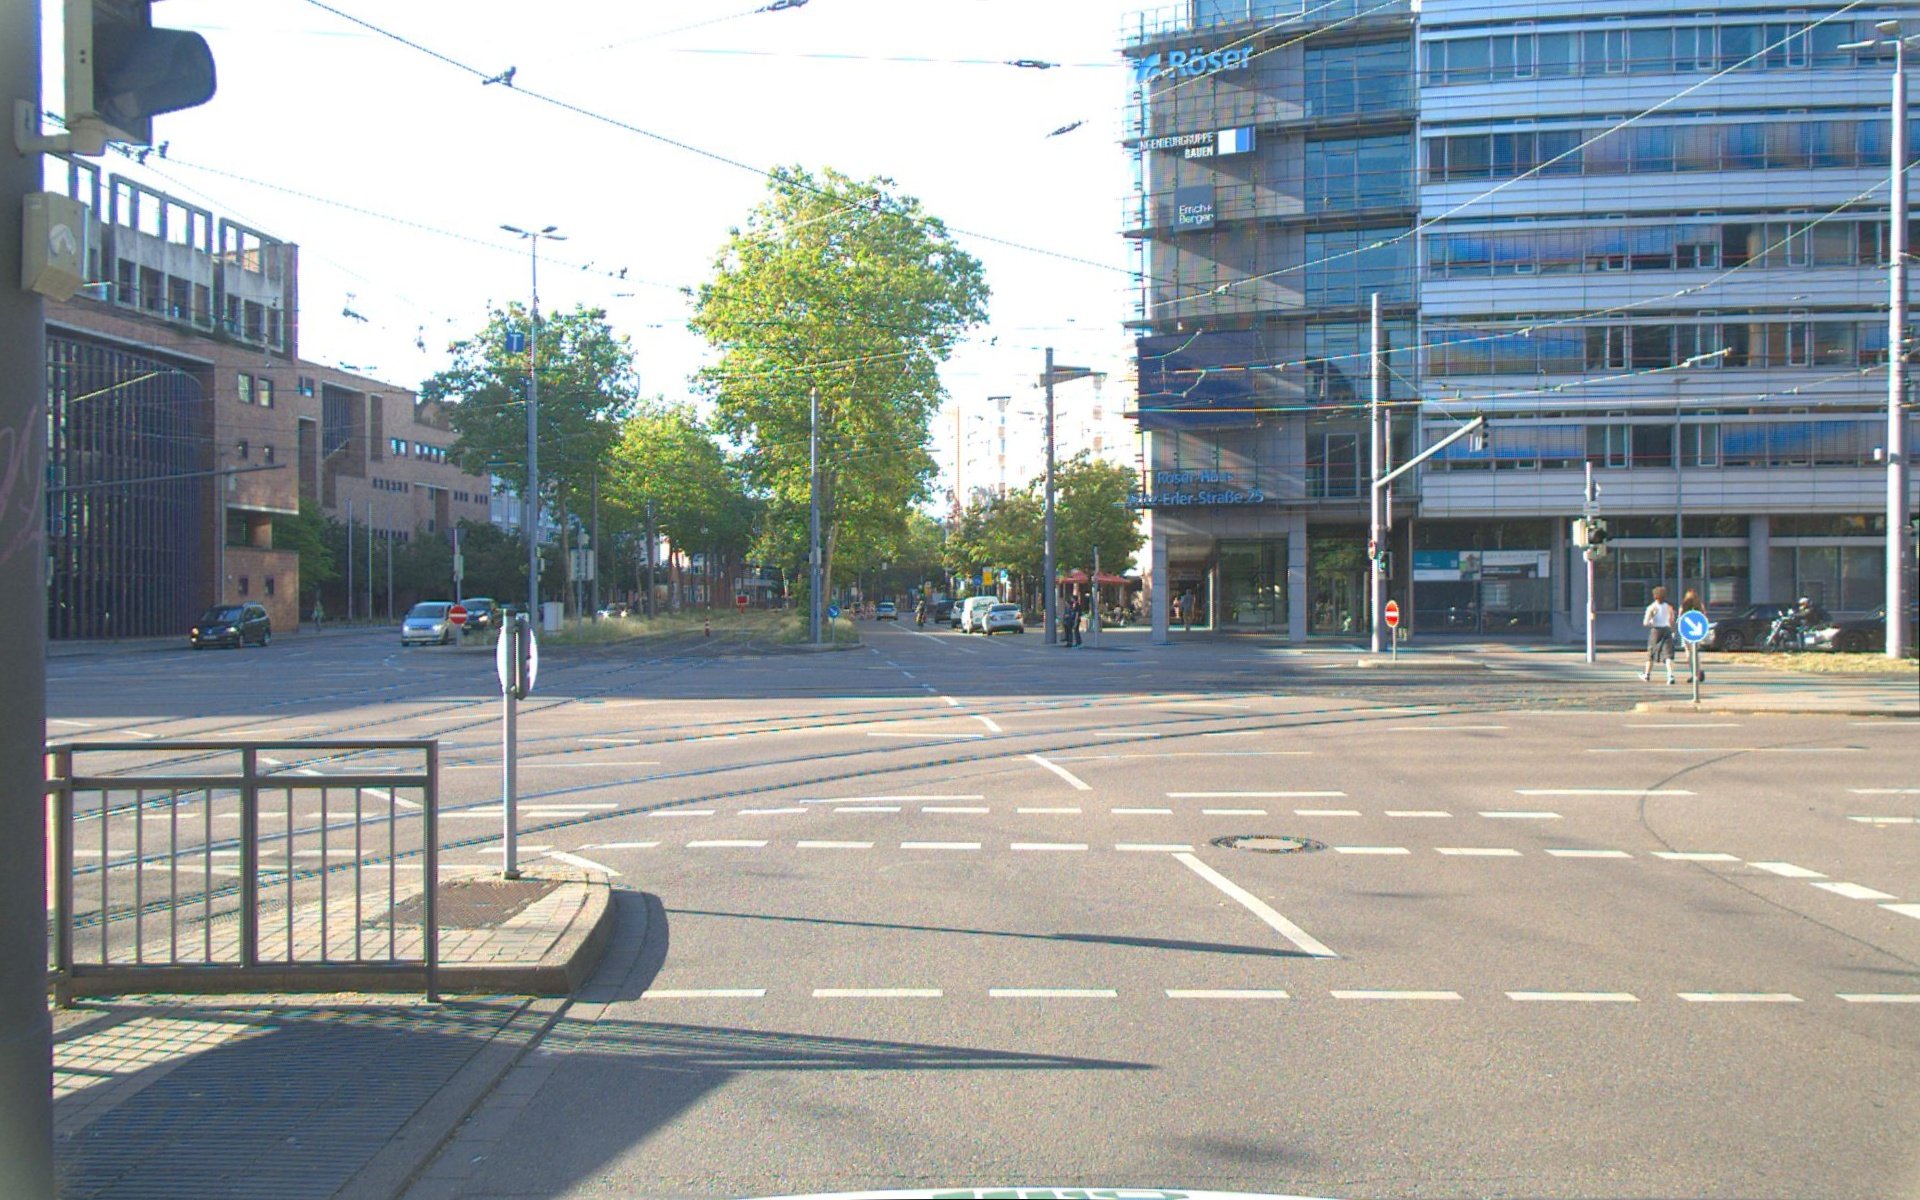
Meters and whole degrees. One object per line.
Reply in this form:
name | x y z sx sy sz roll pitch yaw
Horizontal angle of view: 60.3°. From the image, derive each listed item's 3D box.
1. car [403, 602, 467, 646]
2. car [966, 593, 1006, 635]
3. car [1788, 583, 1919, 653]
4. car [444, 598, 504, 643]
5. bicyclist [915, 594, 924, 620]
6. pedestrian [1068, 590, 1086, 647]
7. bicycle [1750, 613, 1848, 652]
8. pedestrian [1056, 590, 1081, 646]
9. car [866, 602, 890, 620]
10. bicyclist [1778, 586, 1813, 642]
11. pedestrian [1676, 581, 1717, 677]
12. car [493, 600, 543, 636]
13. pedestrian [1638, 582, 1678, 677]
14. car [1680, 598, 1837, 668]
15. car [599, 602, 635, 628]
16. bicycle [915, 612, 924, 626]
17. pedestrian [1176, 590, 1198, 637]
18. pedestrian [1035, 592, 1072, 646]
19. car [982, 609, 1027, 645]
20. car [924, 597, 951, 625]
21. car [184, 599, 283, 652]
car | -20.158 0.898 63.617 1.590 1.604 3.994 -1 0 -6
car | 1.314 0.729 85.850 1.953 2.049 3.999 1 -1 -1
car | 24.260 0.450 43.349 4.165 1.753 1.885 -1 0 2
car | -20.728 0.862 70.697 1.787 1.821 3.994 -1 0 -7
bicyclist | -2.331 0.408 95.471 0.477 1.464 0.615 2 0 -1
pedestrian | 4.198 0.669 59.585 0.574 2.049 0.620 1 -1 0
bicycle | 23.365 0.899 46.082 2.359 1.040 0.637 -1 0 4
pedestrian | 3.976 0.666 60.677 0.832 2.049 0.707 1 -1 -3
car | -6.923 0.934 139.209 1.711 1.443 4.001 1 1 1
bicyclist | 23.287 0.394 46.100 0.649 1.529 0.613 -1 0 4
pedestrian | 13.914 0.547 31.235 0.670 1.789 0.741 -1 0 25
car | -21.050 0.874 78.855 1.644 1.635 3.994 1 -1 -6
pedestrian | 13.301 0.555 31.499 0.664 1.789 0.741 -1 0 25
car | 24.872 1.019 51.612 3.905 2.049 2.000 1 -1 0
car | -24.992 1.067 120.722 1.807 1.814 3.999 -1 0 -1
bicycle | -2.352 1.104 95.483 0.480 0.802 1.861 1 -1 -1
pedestrian | 10.090 0.589 73.485 0.852 2.049 0.793 1 -2 -1
pedestrian | 3.500 0.723 61.795 1.315 1.985 1.011 0 -1 -1
car | 2.086 1.284 79.231 1.988 1.624 3.999 1 -1 -1
car | -1.672 0.833 123.037 1.953 2.049 3.999 1 -1 -1
car | -28.842 0.985 65.822 1.837 2.049 4.472 -1 0 2
